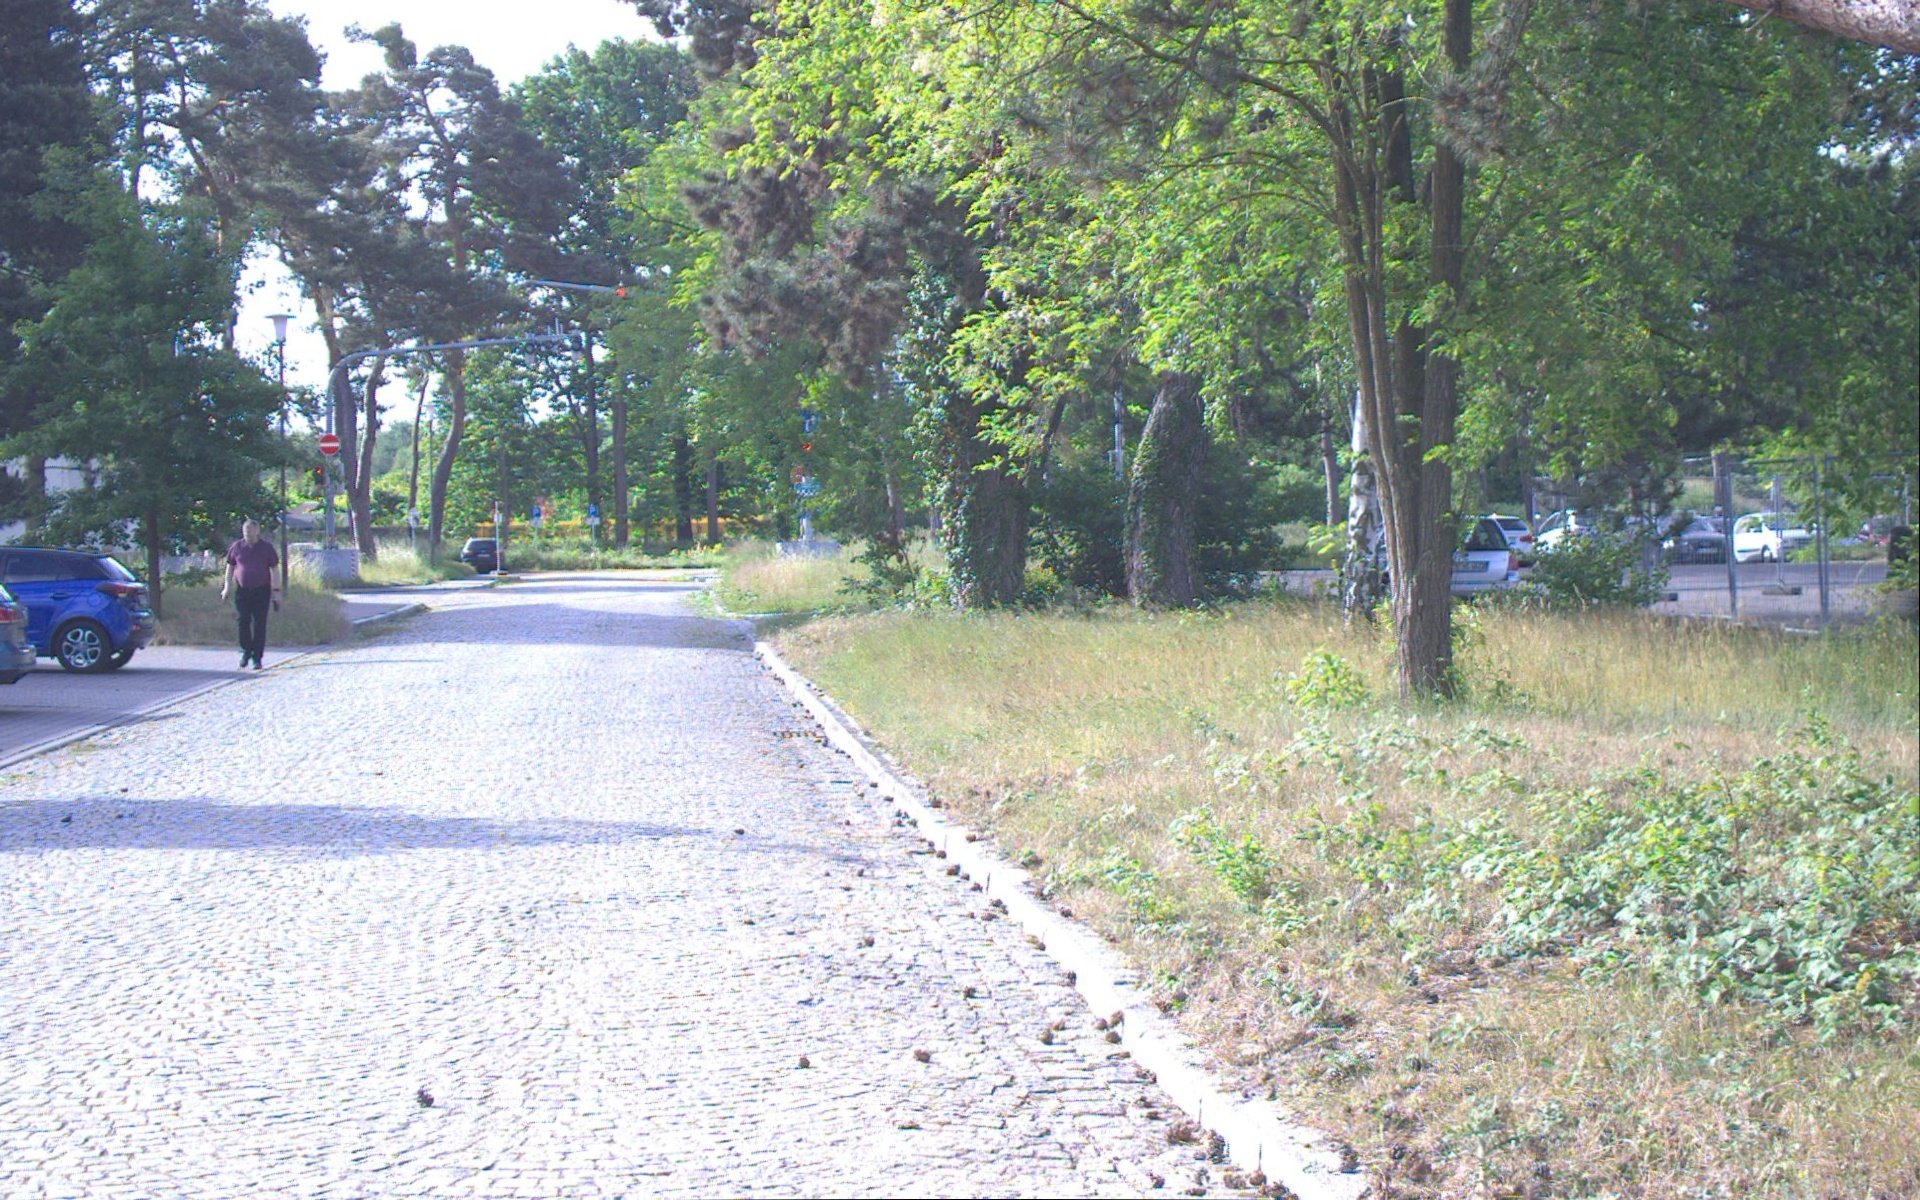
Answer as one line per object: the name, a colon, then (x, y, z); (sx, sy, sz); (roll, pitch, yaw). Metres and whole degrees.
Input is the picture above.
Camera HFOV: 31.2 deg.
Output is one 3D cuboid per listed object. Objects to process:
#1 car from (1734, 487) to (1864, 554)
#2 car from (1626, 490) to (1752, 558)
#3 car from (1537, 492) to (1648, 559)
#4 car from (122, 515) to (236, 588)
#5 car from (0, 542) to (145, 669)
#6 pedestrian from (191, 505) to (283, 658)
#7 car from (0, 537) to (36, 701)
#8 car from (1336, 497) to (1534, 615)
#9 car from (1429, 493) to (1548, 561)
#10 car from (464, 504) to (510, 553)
car: (21.119, -2.015, 86.689); (1.993, 1.612, 4.001); (-1, 1, -5)
car: (18.222, -1.906, 86.146); (1.993, 1.612, 4.001); (-1, 1, -5)
car: (15.724, -1.858, 85.653); (1.821, 1.612, 4.001); (-1, 1, -3)
car: (-17.961, -1.141, 79.202); (1.993, 1.612, 4.001); (-1, 1, -5)
car: (-11.224, 0.064, 40.476); (3.083, 1.445, 1.492); (-1, 1, -11)
pedestrian: (-8.865, -0.237, 42.143); (0.955, 1.838, 0.956); (-1, 1, -19)
car: (-10.061, 0.130, 31.206); (3.083, 1.452, 1.492); (1, 1, -10)
car: (6.457, -0.625, 47.089); (1.886, 1.535, 4.001); (-1, 1, -4)
car: (13.059, -1.821, 85.176); (1.993, 1.612, 4.001); (-1, 1, -5)
car: (-20.113, -3.051, 146.348); (1.697, 2.007, 4.001); (-1, 1, -5)
